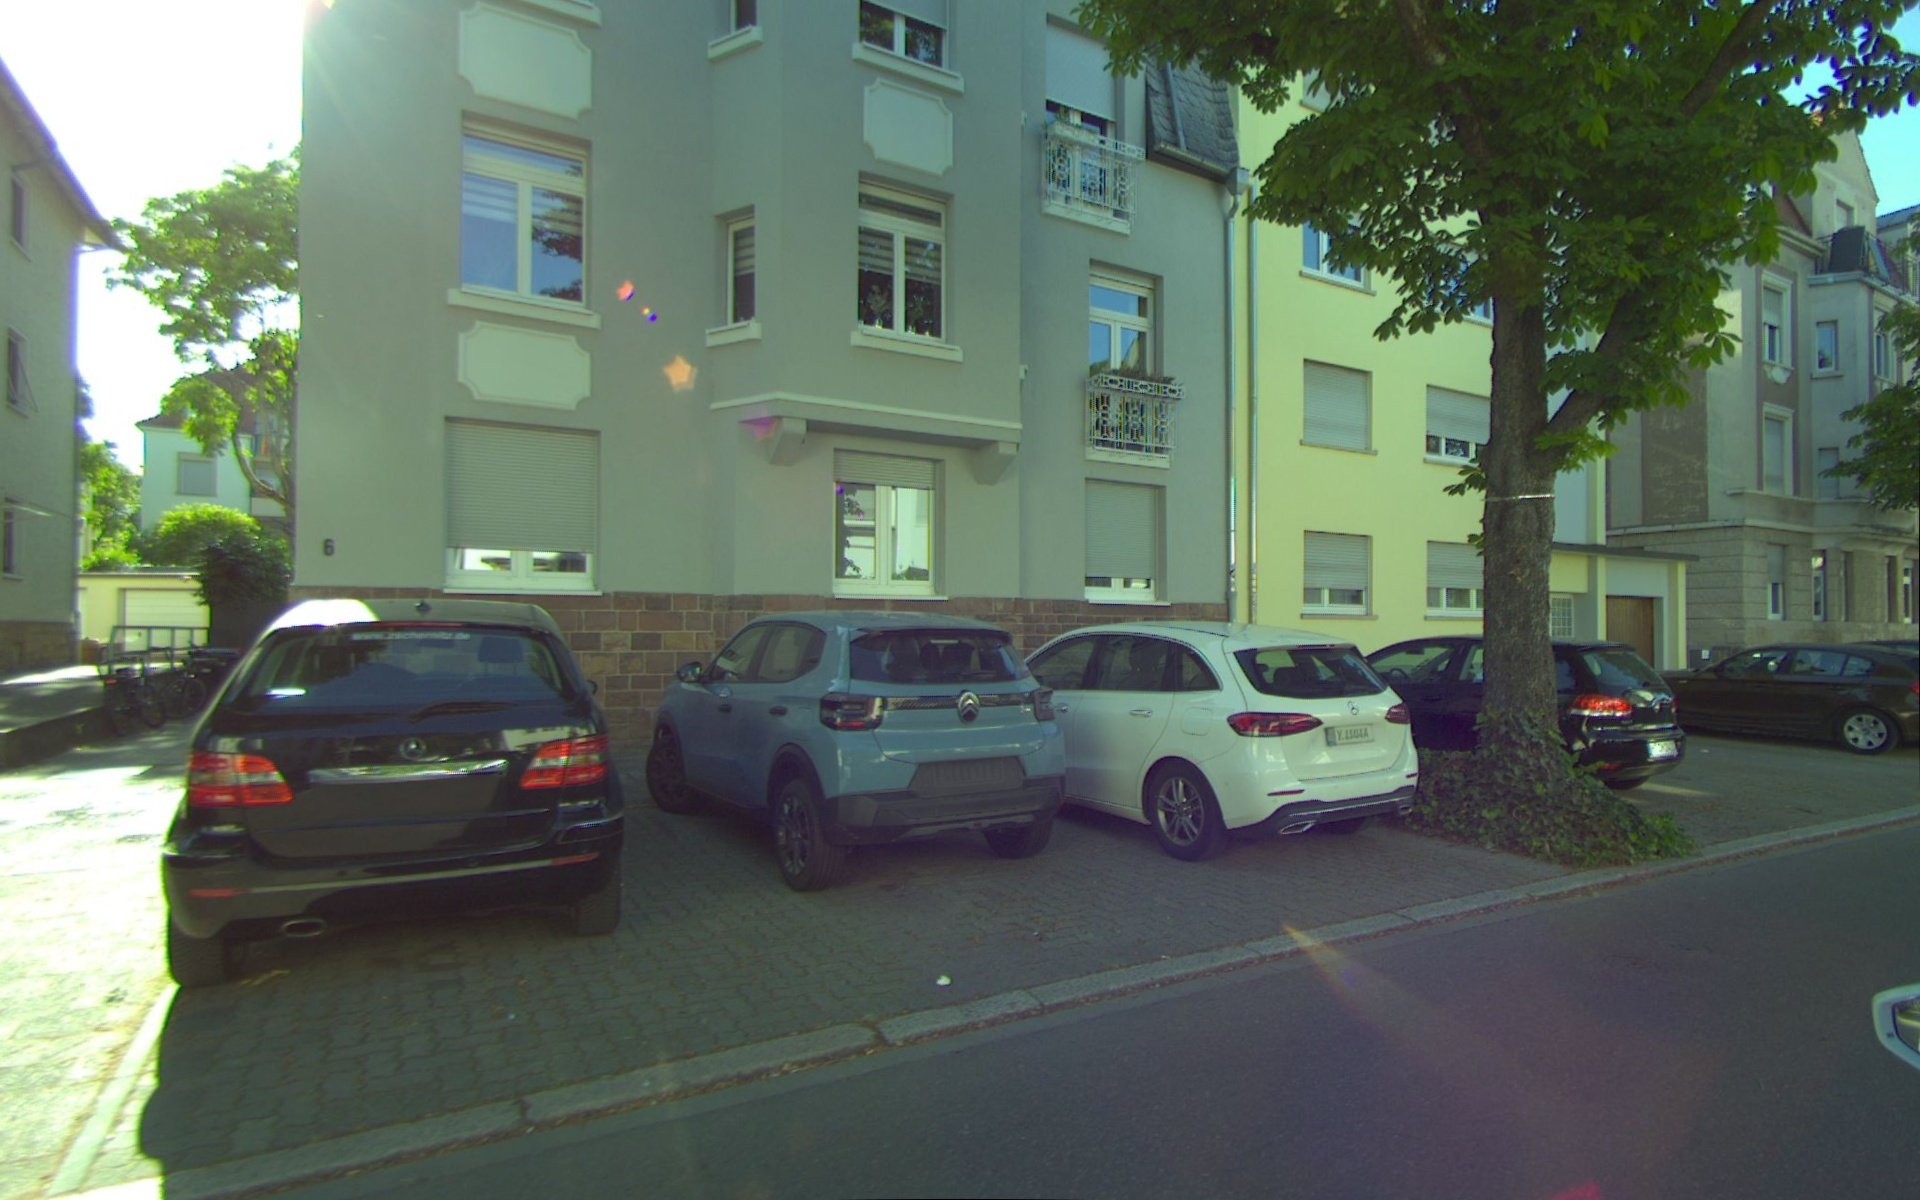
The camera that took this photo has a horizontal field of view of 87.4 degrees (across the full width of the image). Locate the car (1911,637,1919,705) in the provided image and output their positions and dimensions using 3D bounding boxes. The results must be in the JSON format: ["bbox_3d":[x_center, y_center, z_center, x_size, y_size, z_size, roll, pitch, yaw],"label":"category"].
[{"bbox_3d":[22.961,1.596,20.788,1.848,1.498,4.450,3,-1,-31],"label":"car"}]

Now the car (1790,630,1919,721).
[{"bbox_3d":[17.674,1.395,17.862,1.982,1.520,4.142,3,-1,-37],"label":"car"}]

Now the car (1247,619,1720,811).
[{"bbox_3d":[5.162,1.015,10.445,1.780,1.463,3.999,3,-1,-32],"label":"car"}]

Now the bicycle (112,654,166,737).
[{"bbox_3d":[-11.411,1.305,13.988,0.300,0.994,1.613,2,0,-30],"label":"bicycle"}]

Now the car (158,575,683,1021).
[{"bbox_3d":[-2.913,0.726,5.746,1.824,1.596,3.849,1,0,-27],"label":"car"}]

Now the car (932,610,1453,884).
[{"bbox_3d":[1.525,0.890,8.016,1.786,1.504,4.003,1,0,-30],"label":"car"}]

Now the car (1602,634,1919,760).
[{"bbox_3d":[11.930,1.287,14.667,1.750,1.441,3.967,0,0,-30],"label":"car"}]

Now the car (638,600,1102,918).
[{"bbox_3d":[-0.846,0.827,7.052,1.753,1.596,3.492,1,0,-35],"label":"car"}]

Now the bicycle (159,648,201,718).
[{"bbox_3d":[-13.057,1.372,16.828,0.300,1.028,1.613,2,0,-30],"label":"bicycle"}]
